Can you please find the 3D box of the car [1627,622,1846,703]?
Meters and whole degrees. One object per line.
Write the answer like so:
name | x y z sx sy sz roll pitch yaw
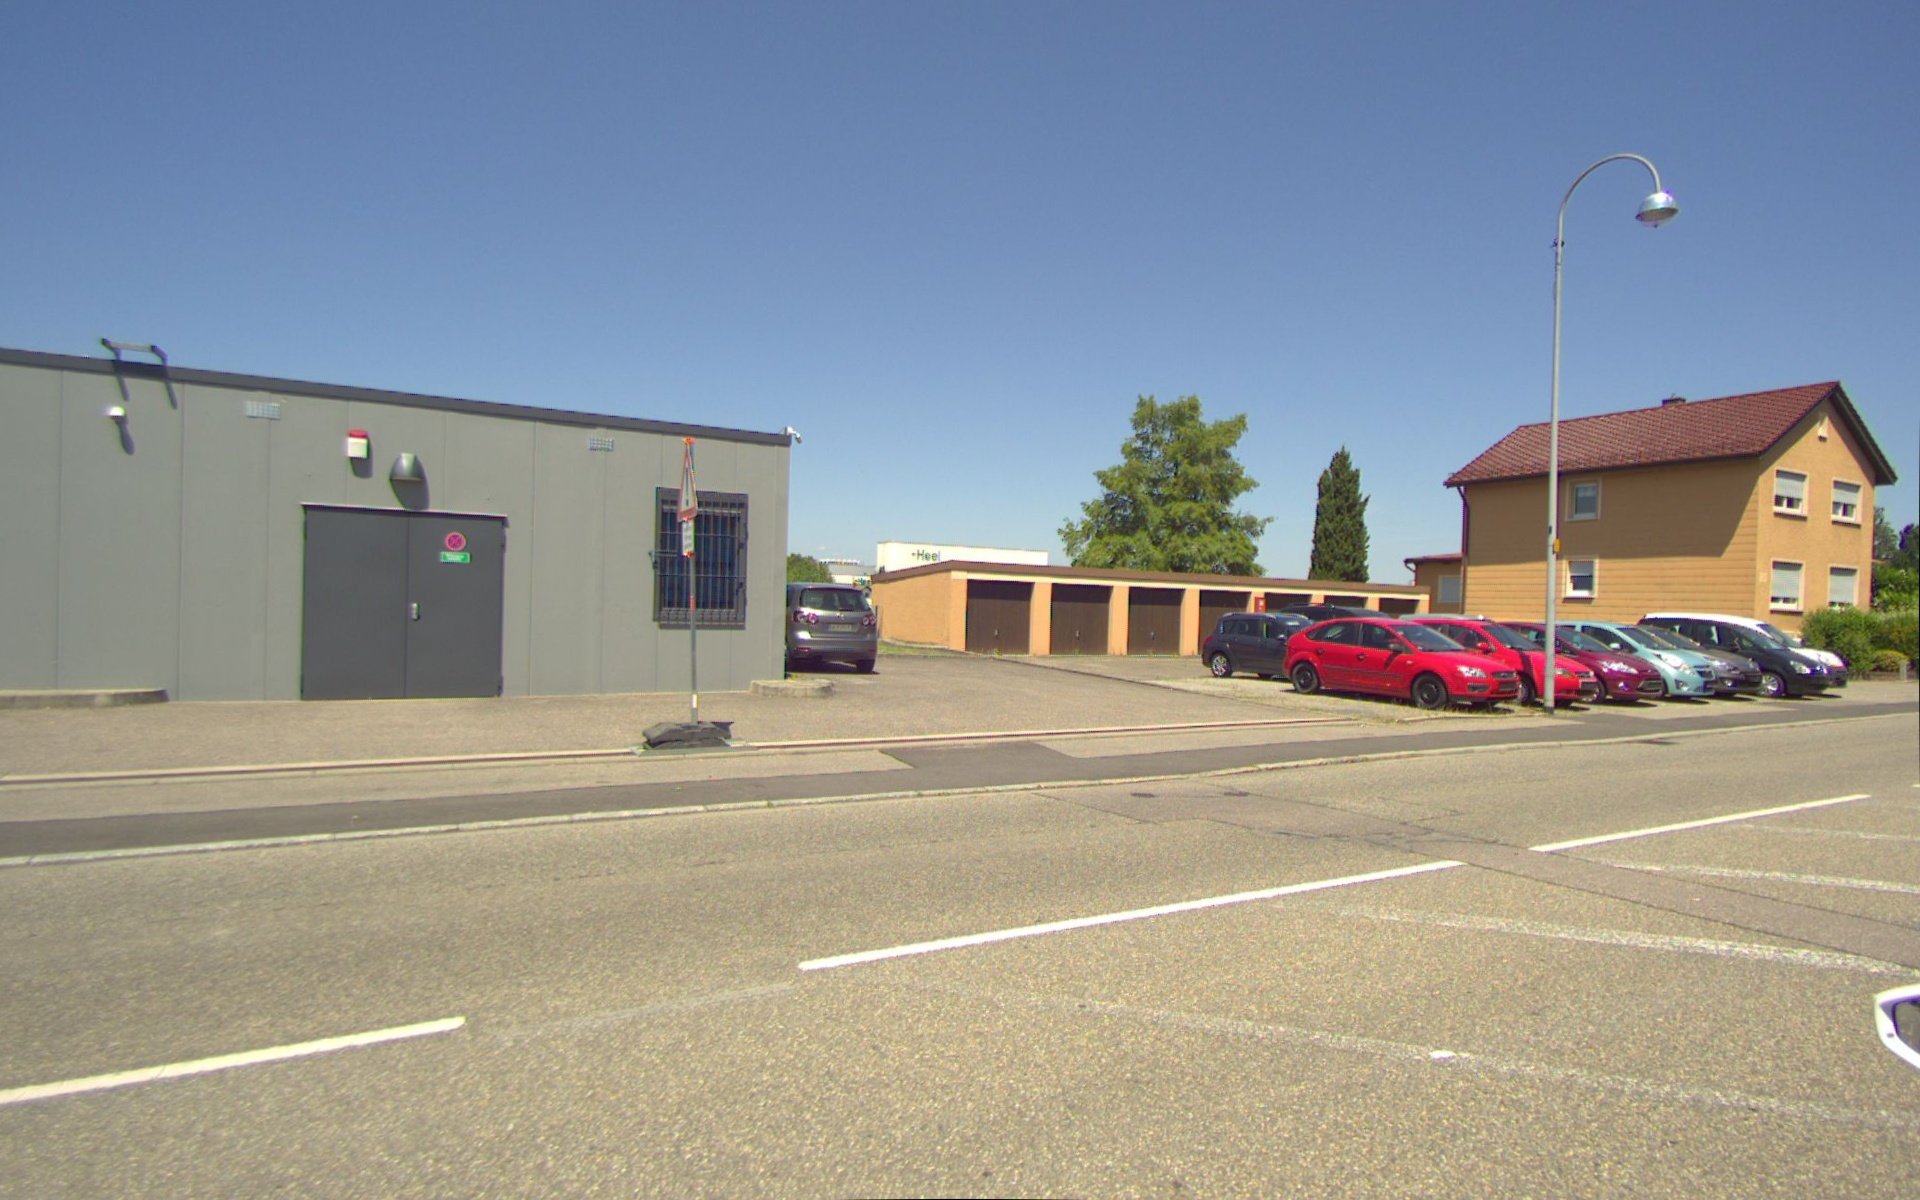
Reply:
car | 18.054 1.403 23.498 1.901 1.694 3.644 2 -1 -32

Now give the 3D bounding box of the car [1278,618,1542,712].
car | 8.020 1.095 18.275 1.806 1.463 4.106 2 -1 -30

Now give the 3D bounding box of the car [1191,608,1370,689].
car | 7.389 1.072 23.431 1.872 1.732 3.644 2 -1 -32

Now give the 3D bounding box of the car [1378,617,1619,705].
car | 10.222 1.104 19.305 1.872 1.477 3.644 2 -1 -32

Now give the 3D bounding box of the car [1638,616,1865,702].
car | 19.621 1.391 25.061 1.980 1.923 4.068 2 -1 -34

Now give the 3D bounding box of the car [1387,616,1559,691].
car | 13.624 1.376 26.840 1.901 1.799 3.644 2 -1 -32

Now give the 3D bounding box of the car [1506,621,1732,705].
car | 14.148 1.295 21.736 1.901 1.602 3.644 2 -1 -32

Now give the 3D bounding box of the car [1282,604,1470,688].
car | 9.885 1.050 24.131 1.838 1.829 3.828 2 -1 -32

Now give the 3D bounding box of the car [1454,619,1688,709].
car | 12.336 1.236 20.478 1.861 1.626 3.644 2 -1 -32

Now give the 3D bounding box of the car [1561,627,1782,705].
car | 15.982 1.436 22.728 1.901 1.552 3.644 2 -1 -32

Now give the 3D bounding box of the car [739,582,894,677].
car | -2.837 0.547 19.107 1.732 1.605 3.973 2 -1 -27
